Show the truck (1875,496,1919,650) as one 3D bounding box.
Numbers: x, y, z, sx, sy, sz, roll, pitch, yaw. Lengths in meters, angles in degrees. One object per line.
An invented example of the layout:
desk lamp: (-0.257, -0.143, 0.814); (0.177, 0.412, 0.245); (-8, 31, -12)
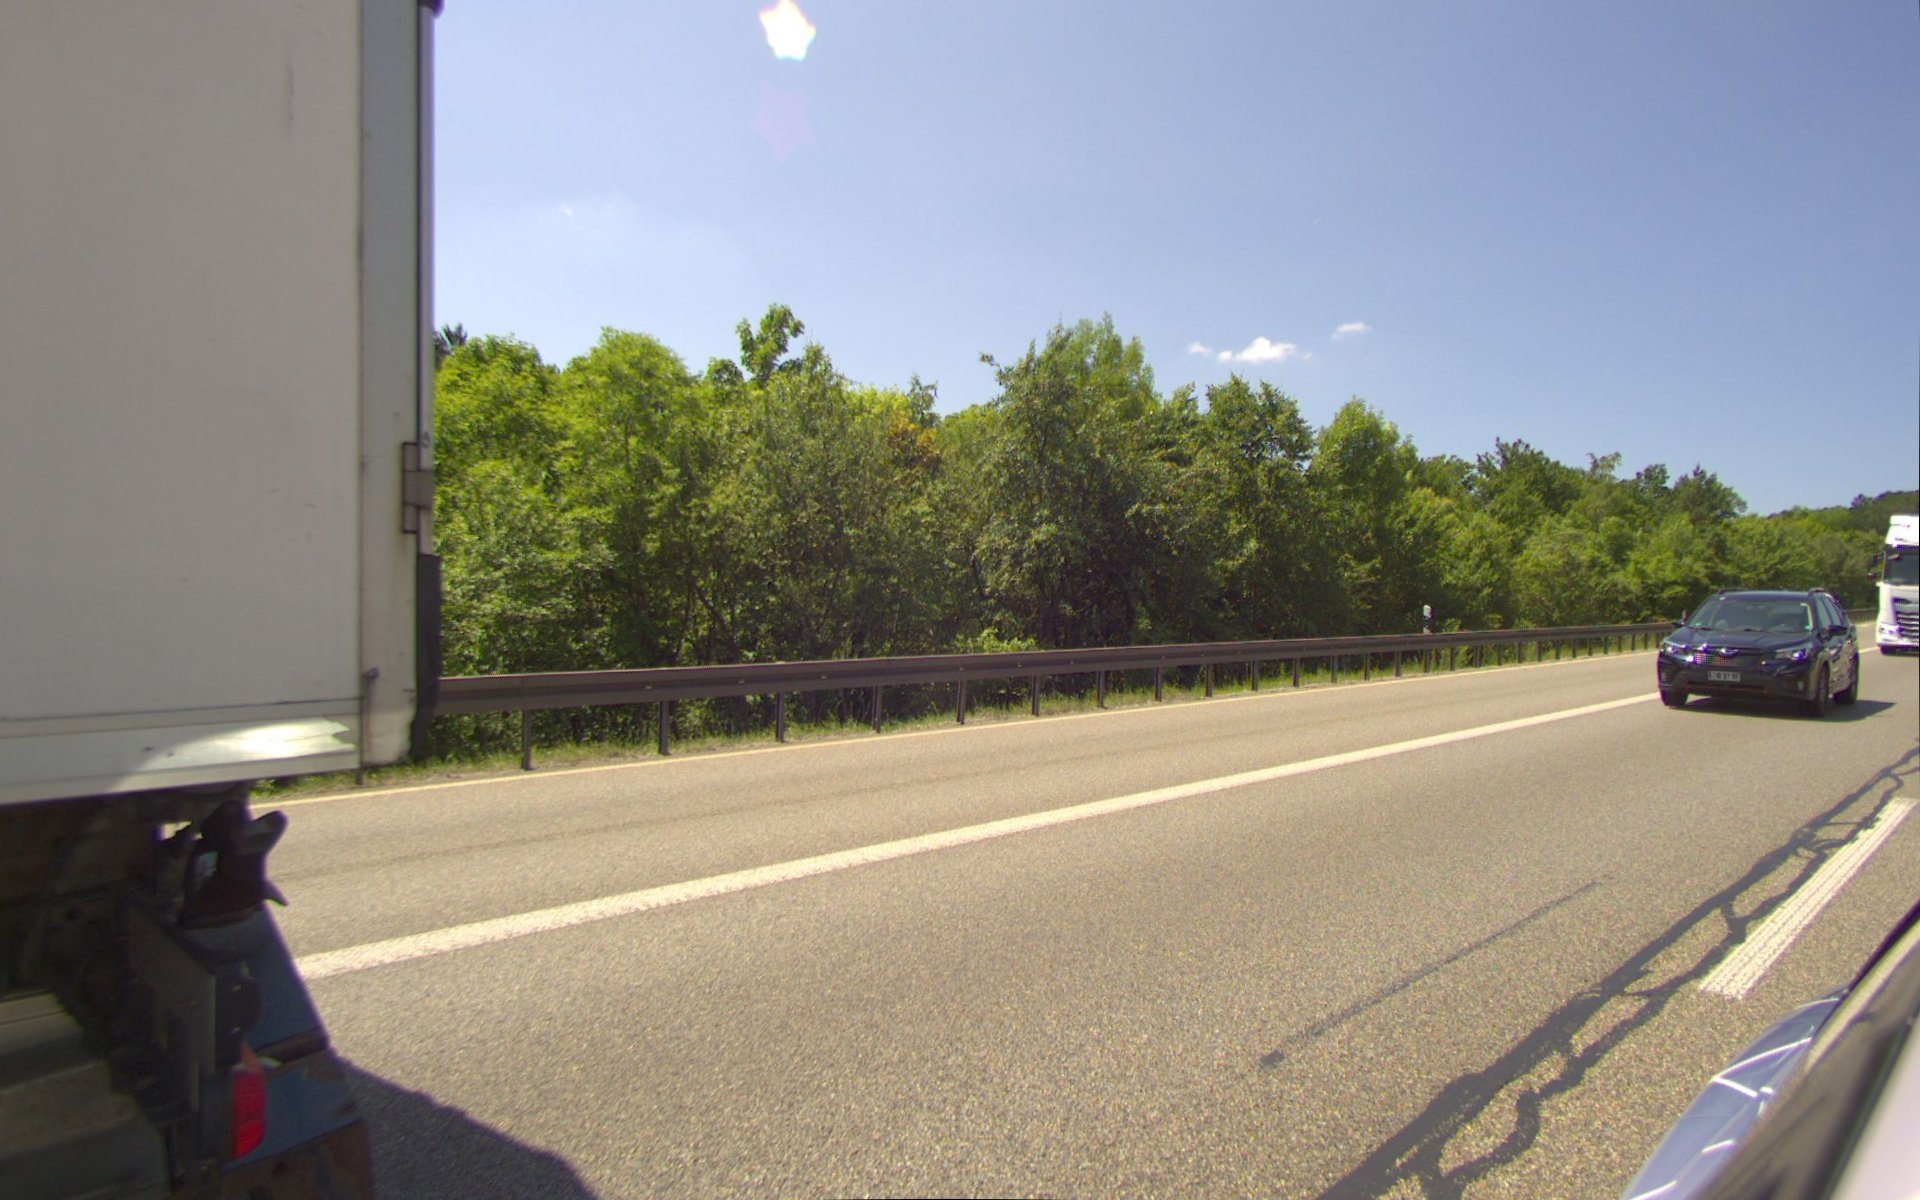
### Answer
truck: (32.689, -0.735, 32.645); (15.982, 4.221, 2.788); (0, 0, -41)

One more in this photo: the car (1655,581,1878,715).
car: (11.822, 0.591, 14.744); (4.130, 1.688, 1.815); (0, 0, -41)
